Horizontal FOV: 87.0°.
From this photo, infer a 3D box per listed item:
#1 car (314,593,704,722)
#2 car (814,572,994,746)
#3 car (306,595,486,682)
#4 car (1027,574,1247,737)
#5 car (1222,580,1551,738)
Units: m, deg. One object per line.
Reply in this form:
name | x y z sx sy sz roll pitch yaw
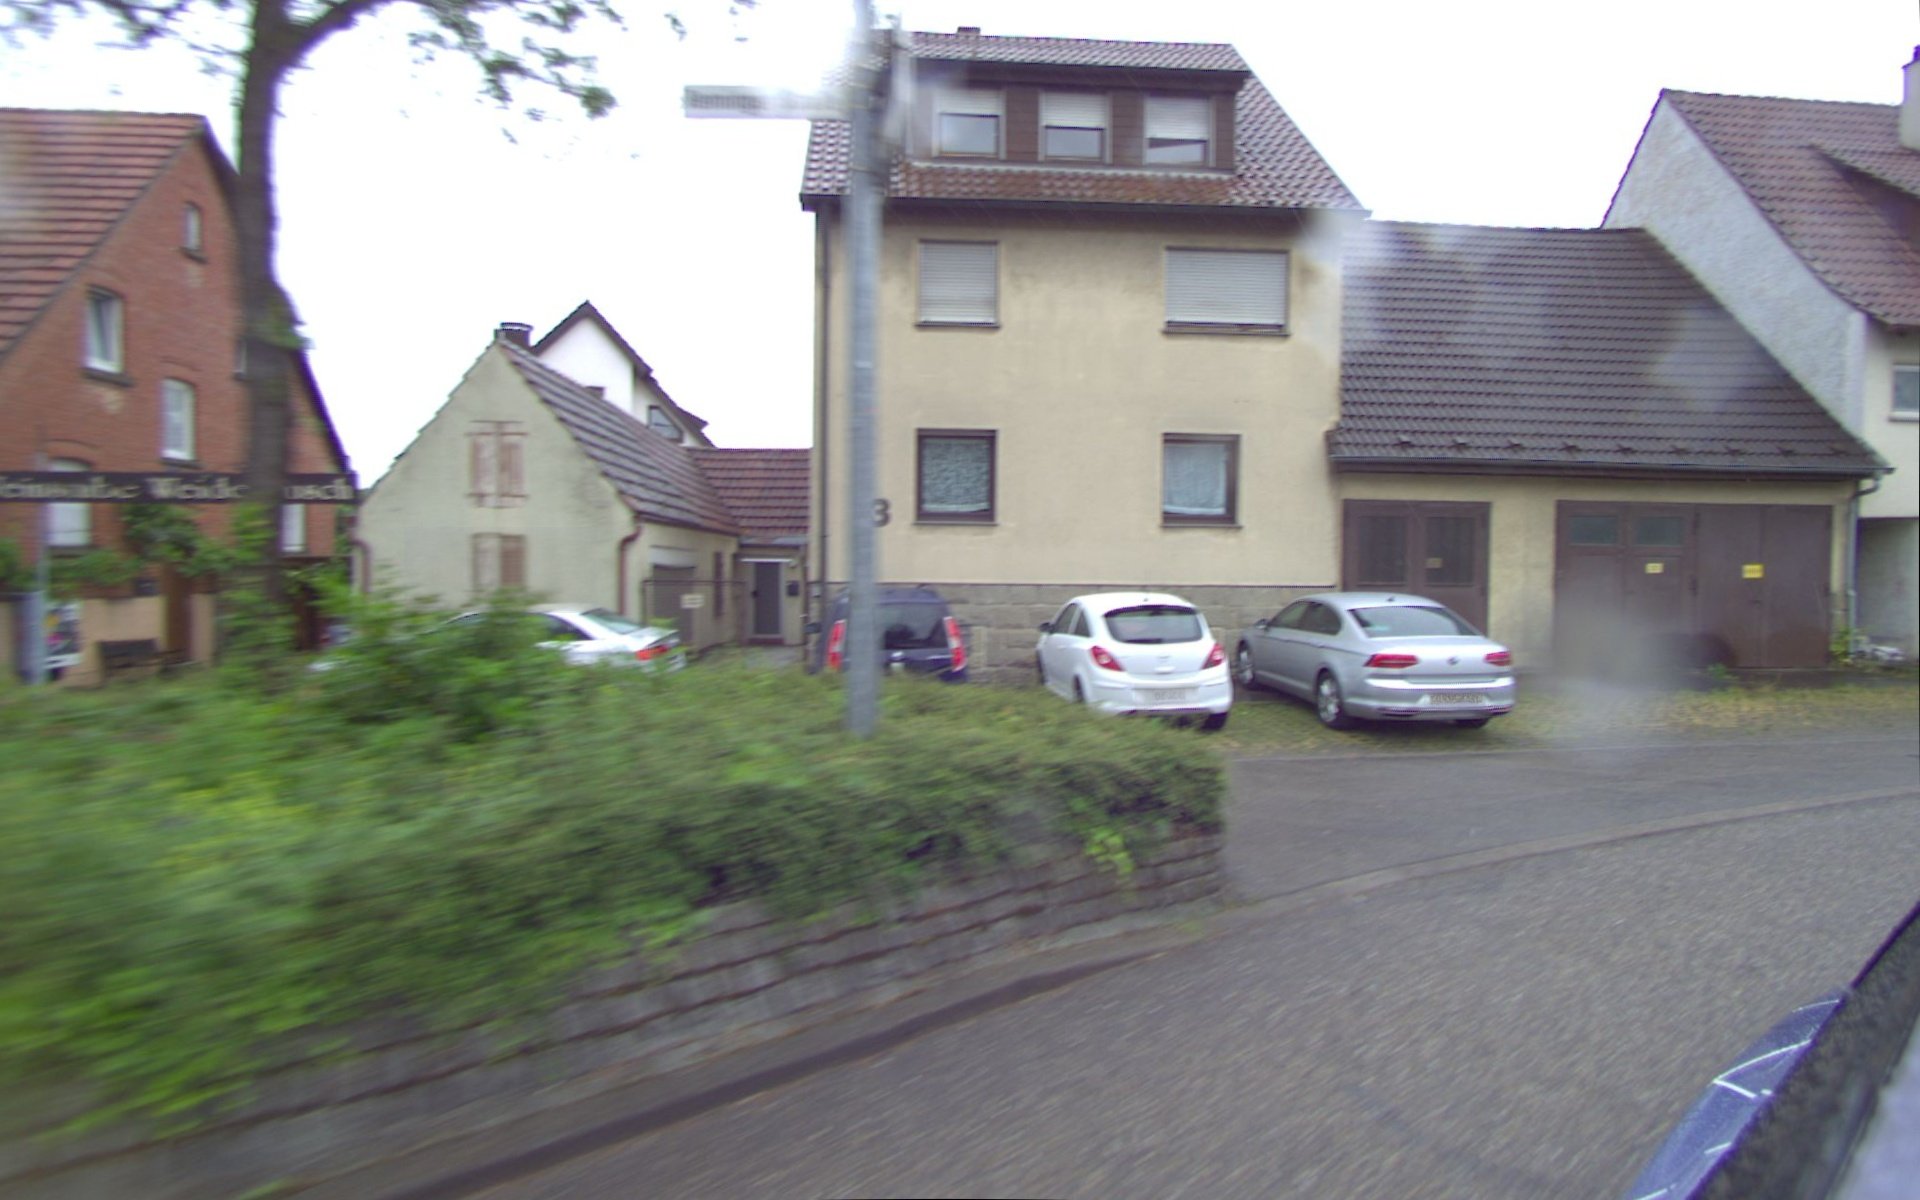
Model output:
car | -5.600 0.668 13.034 4.181 1.457 1.910 0 2 -3
car | -0.844 0.544 12.330 1.712 1.601 4.009 -2 3 -9
car | -10.927 0.682 19.928 1.570 1.515 4.003 -1 0 -4
car | 1.991 0.542 12.376 1.684 1.547 3.439 -1 4 -7
car | 4.867 0.540 12.432 1.785 1.432 4.634 0 3 -4
